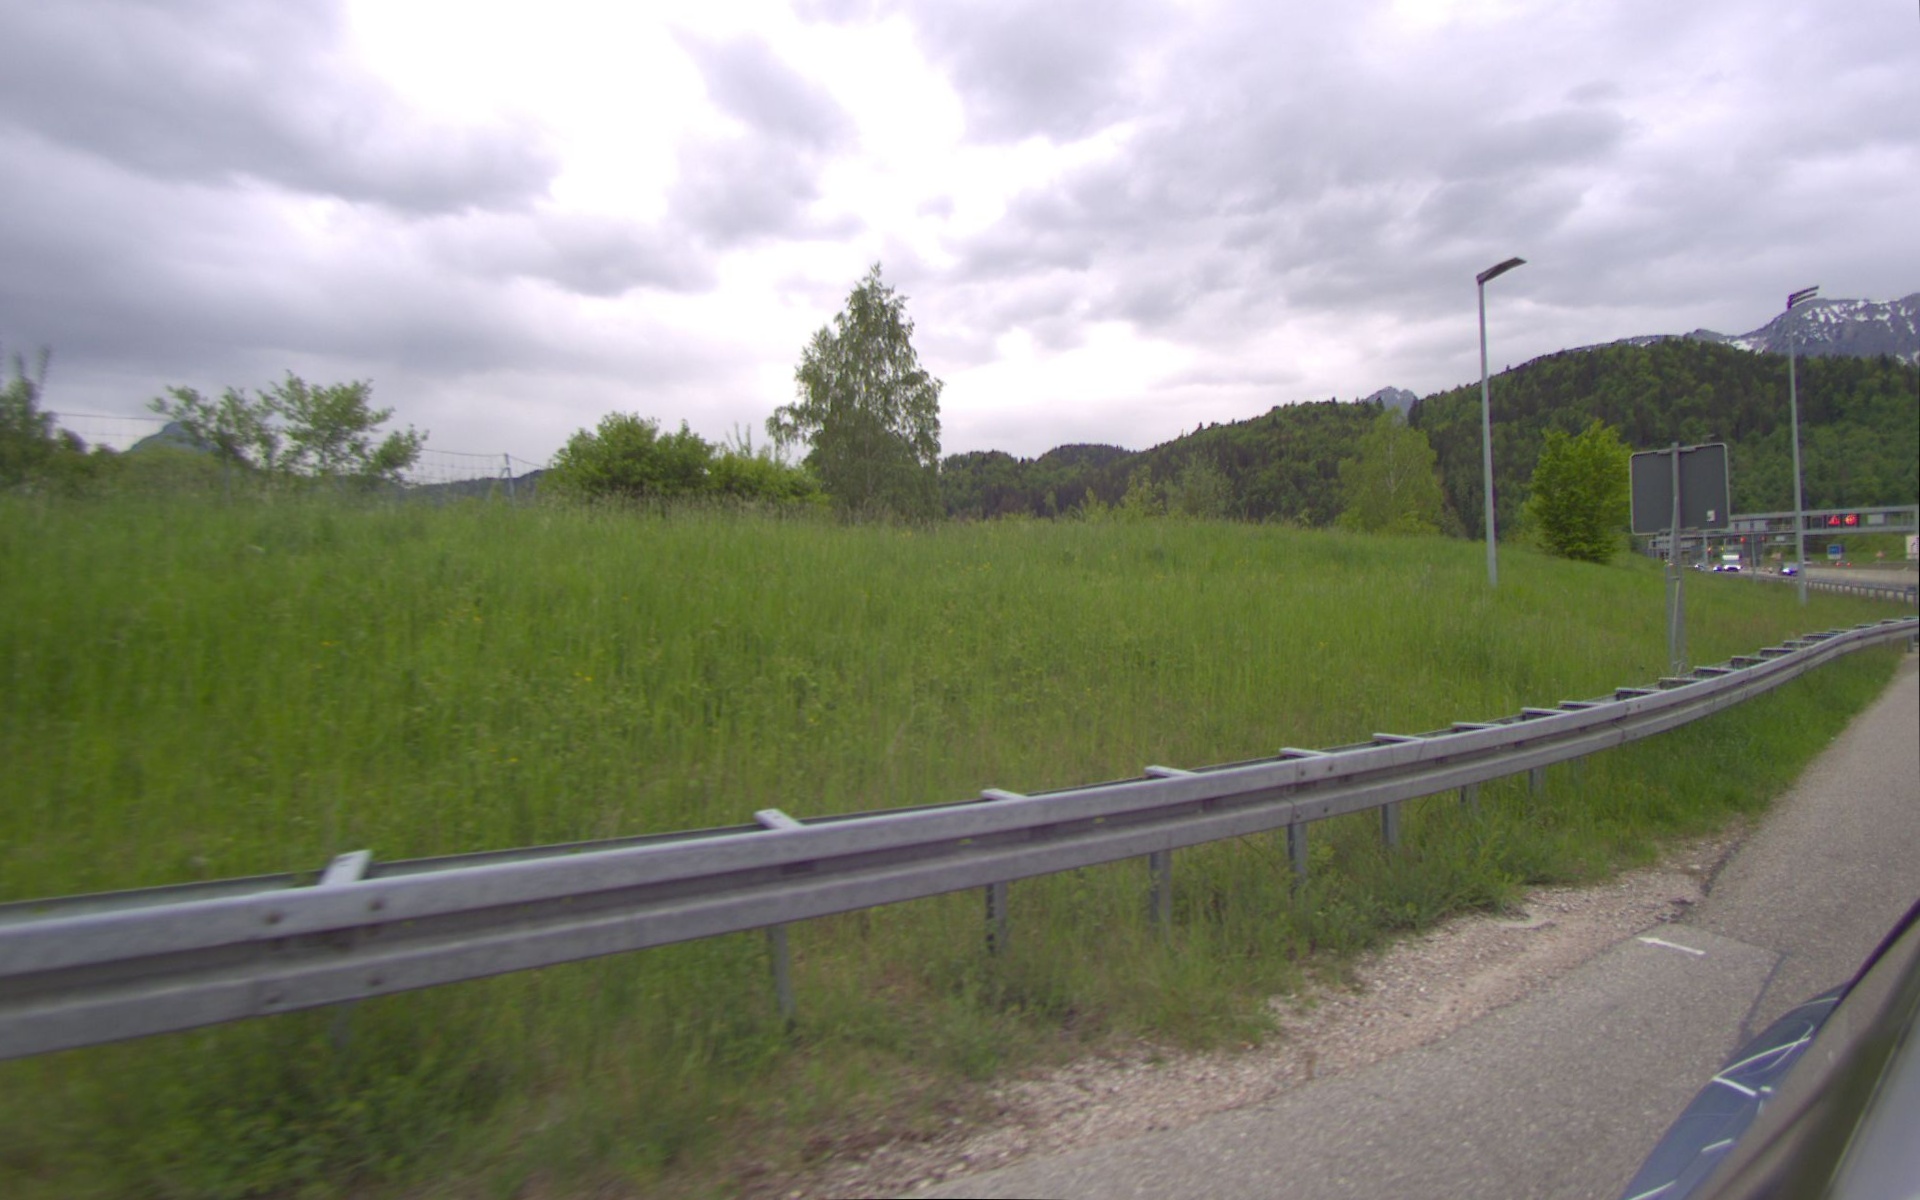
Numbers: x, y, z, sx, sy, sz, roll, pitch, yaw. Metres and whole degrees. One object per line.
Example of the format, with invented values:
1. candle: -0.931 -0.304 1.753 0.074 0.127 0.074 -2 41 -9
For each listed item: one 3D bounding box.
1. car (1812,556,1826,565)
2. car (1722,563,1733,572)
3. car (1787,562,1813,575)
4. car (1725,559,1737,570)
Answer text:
1. car: 164.906 -7.577 194.369 1.905 1.719 3.449 1 2 38
2. car: 142.257 -6.039 187.489 1.623 1.719 3.449 1 2 38
3. car: 84.627 -3.174 102.010 1.654 1.353 3.746 1 2 34
4. car: 126.575 -5.785 166.128 1.623 1.719 3.449 1 2 38
